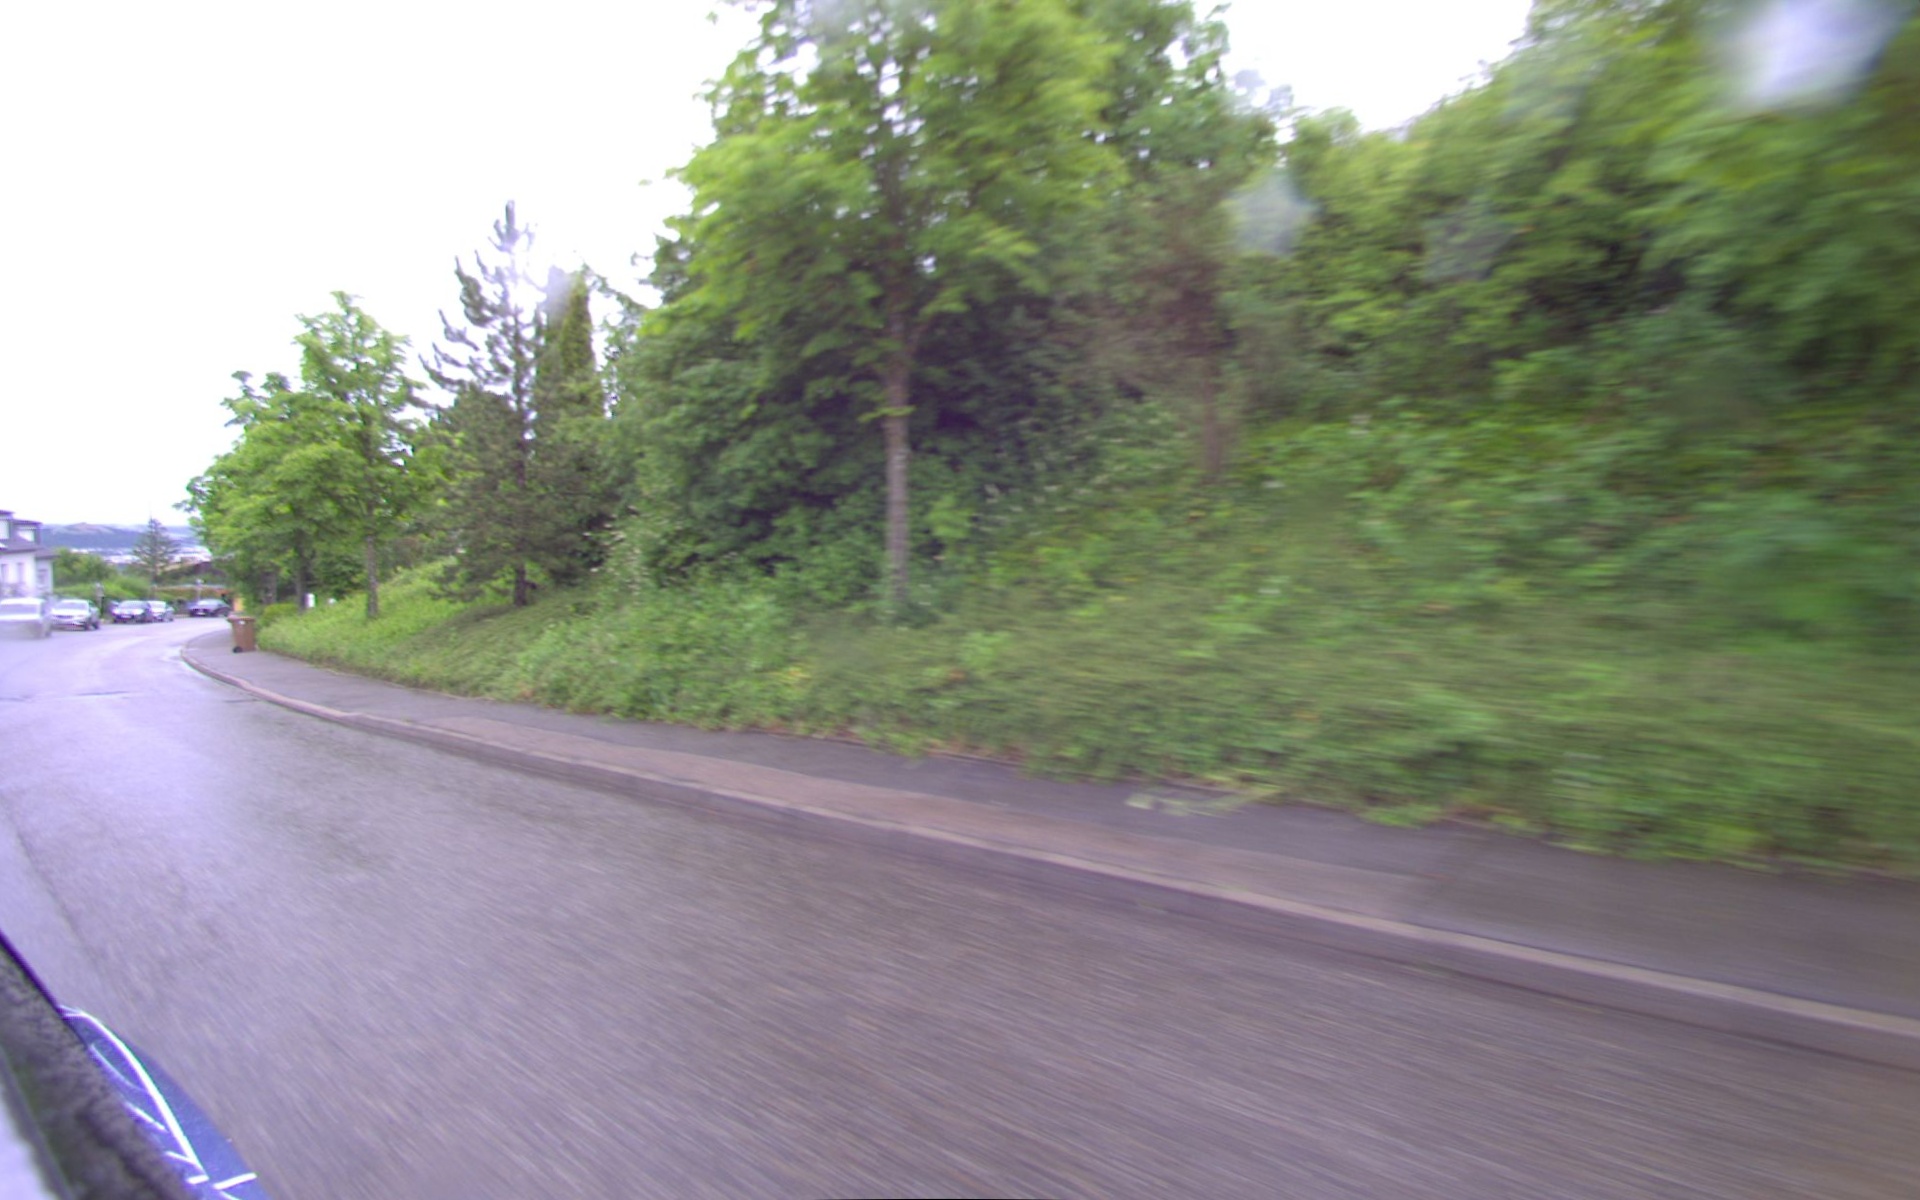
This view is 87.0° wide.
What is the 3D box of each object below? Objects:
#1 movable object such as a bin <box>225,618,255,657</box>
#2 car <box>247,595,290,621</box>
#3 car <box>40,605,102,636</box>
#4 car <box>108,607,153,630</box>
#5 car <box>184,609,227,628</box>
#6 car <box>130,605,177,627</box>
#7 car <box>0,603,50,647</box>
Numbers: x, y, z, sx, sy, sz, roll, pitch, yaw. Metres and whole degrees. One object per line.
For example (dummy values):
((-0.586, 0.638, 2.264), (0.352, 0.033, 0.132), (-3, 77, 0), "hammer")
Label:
((-21.527, 1.117, 30.257), (0.685, 1.099, 0.805), (-3, -3, -35), "movable object such as a bin")
((-72.147, 0.831, 105.688), (2.043, 2.569, 6.201), (1, 0, -19), "car")
((-49.158, 1.114, 56.053), (1.779, 1.639, 4.300), (2, -1, -31), "car")
((-56.475, 1.221, 68.932), (1.636, 1.478, 3.775), (2, -1, -29), "car")
((-65.114, 1.615, 87.413), (1.831, 1.538, 5.080), (2, -1, -24), "car")
((-58.715, 1.143, 73.769), (1.743, 1.478, 4.248), (2, -1, -26), "car")
((-41.768, 1.052, 44.782), (1.755, 1.817, 4.718), (0, 0, -36), "car")
